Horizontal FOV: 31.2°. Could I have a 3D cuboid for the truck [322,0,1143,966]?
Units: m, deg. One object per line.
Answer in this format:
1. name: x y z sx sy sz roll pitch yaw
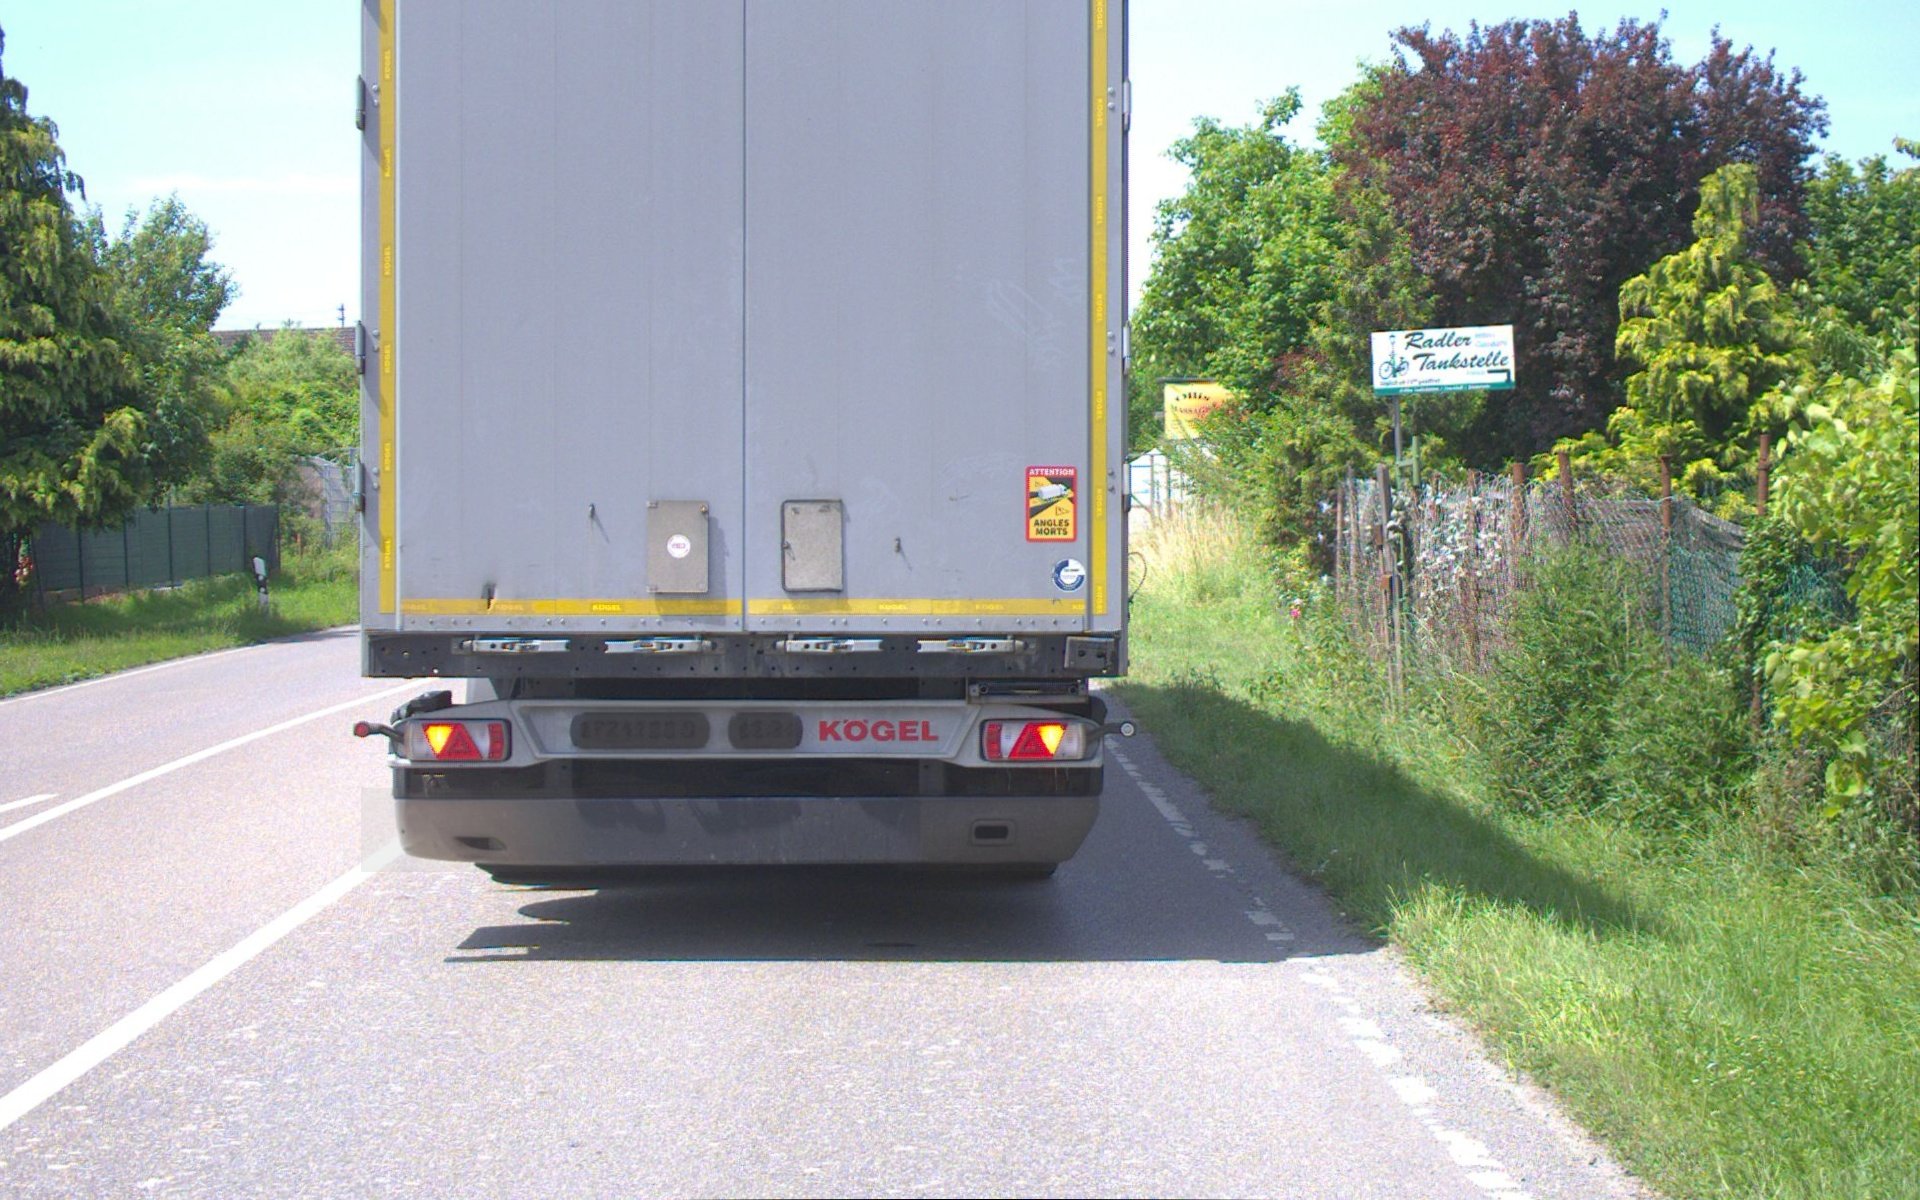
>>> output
1. truck: -0.922 -0.885 15.543 2.647 3.903 8.826 0 2 -2
